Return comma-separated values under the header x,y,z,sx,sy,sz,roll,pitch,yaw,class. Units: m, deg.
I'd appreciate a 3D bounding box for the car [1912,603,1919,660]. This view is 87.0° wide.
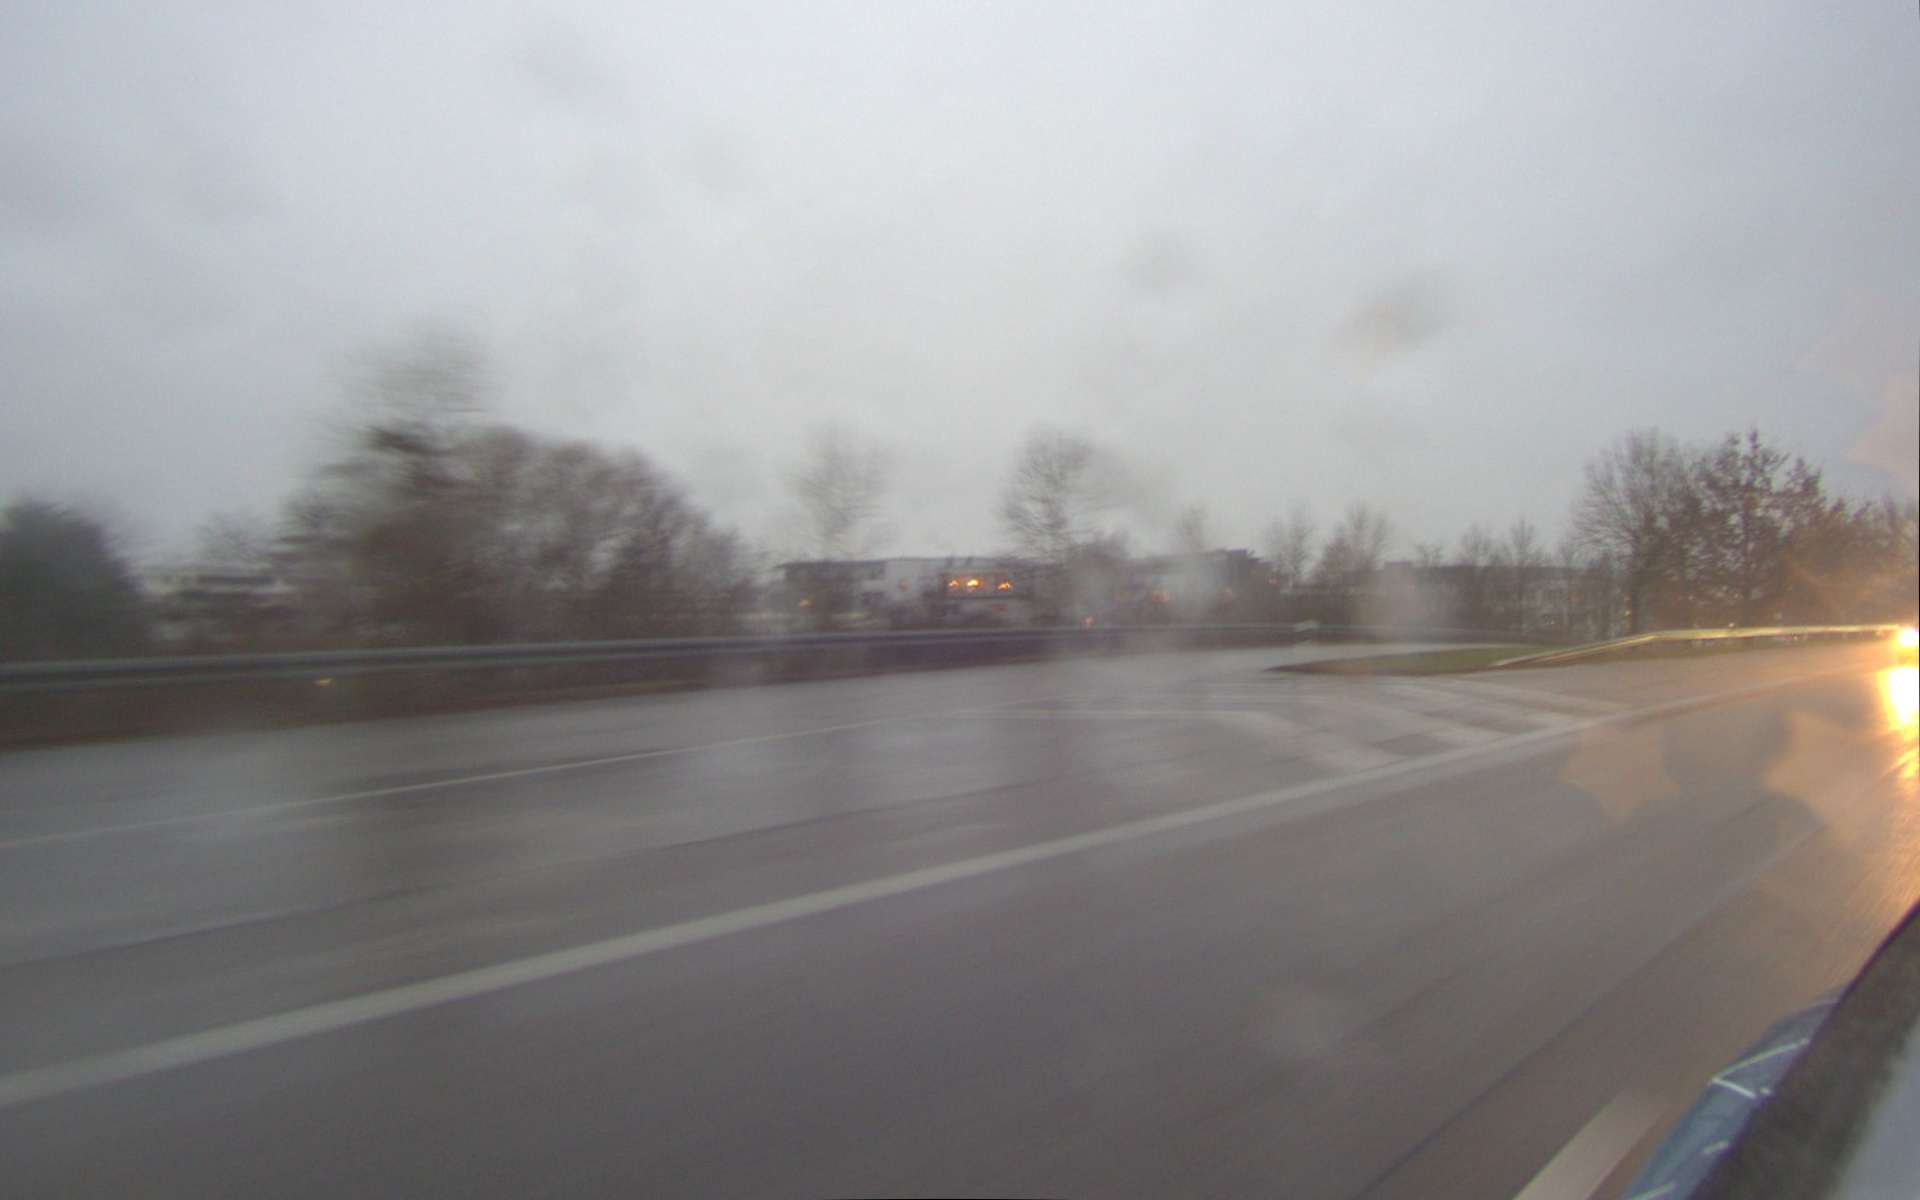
x,y,z,sx,sy,sz,roll,pitch,yaw,class
28.050,0.896,28.074,4.073,1.549,1.850,1,0,-39,car
